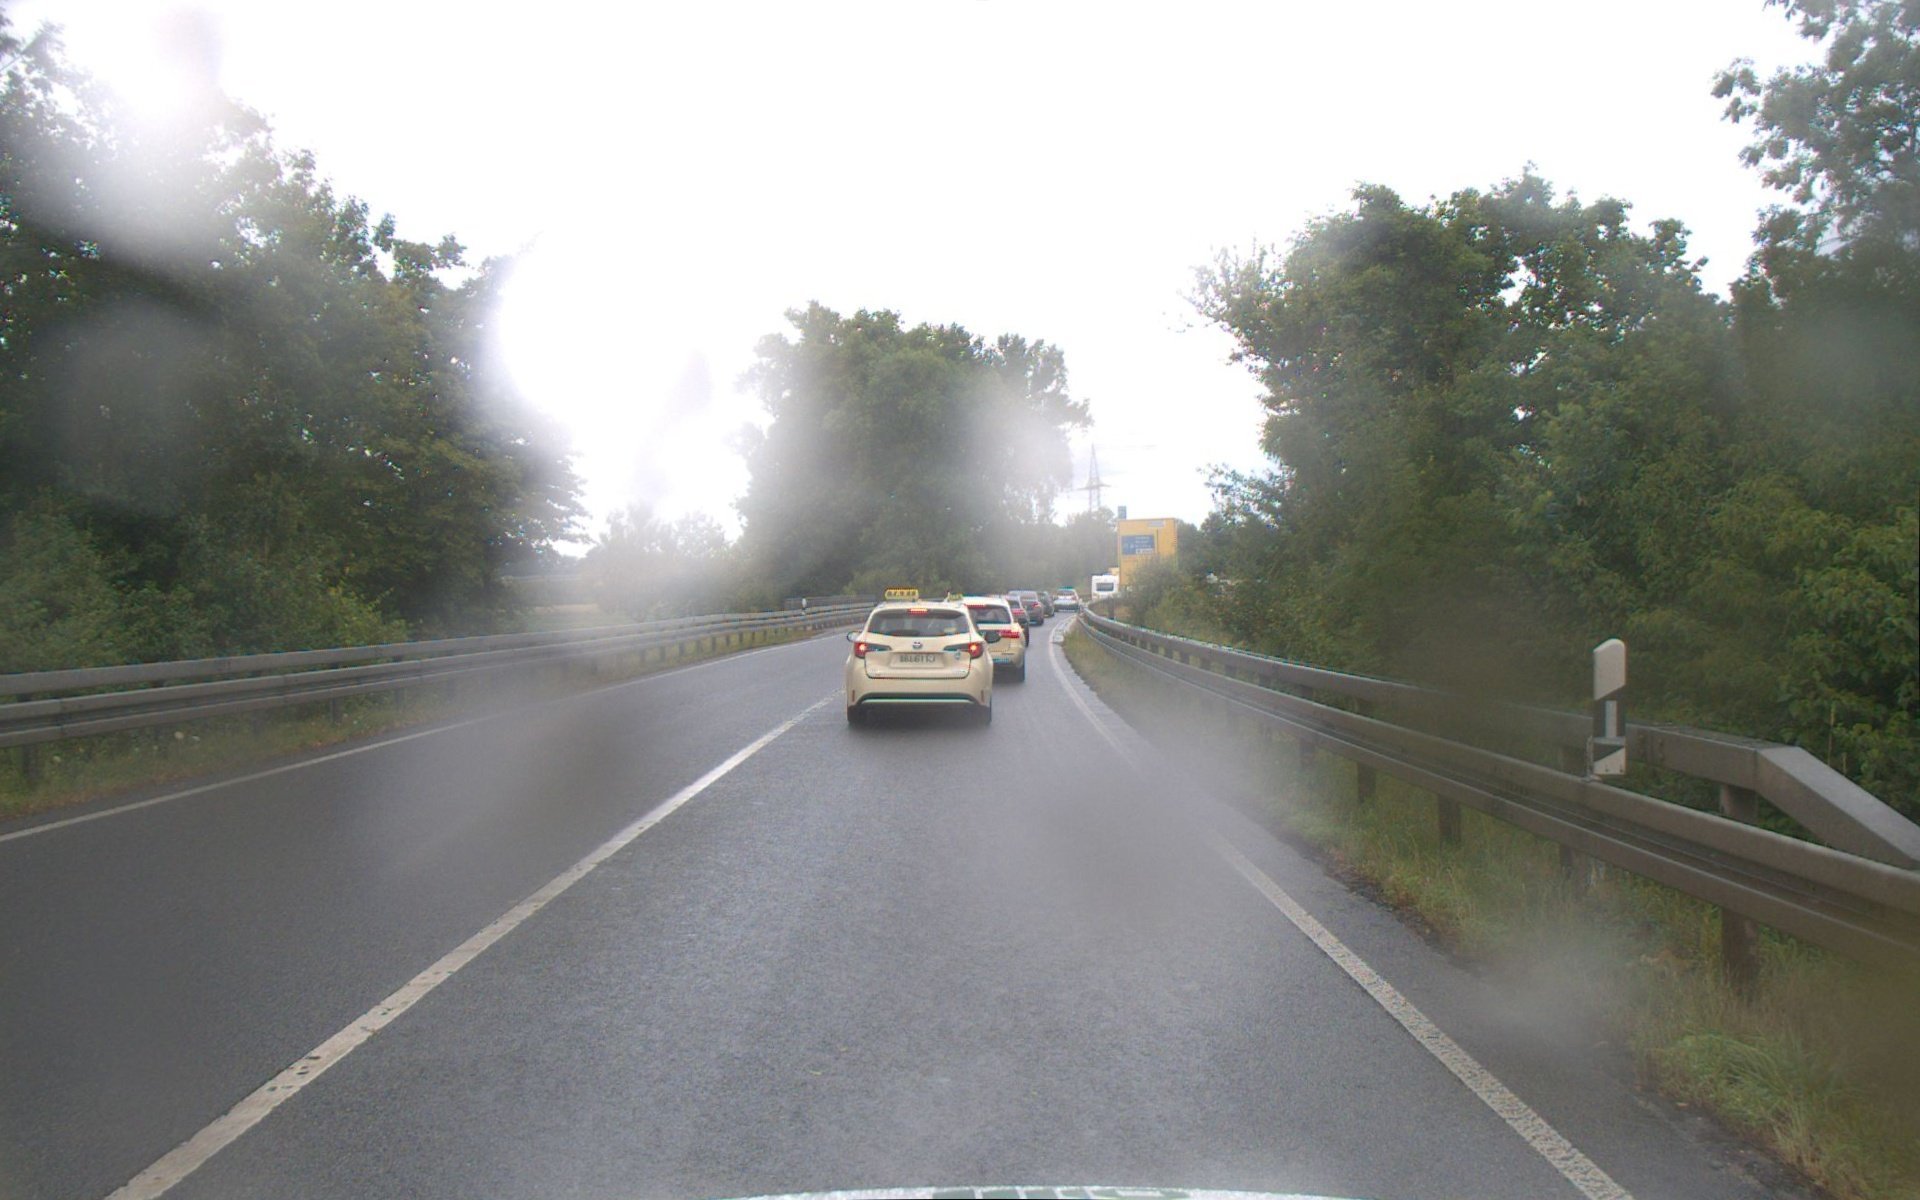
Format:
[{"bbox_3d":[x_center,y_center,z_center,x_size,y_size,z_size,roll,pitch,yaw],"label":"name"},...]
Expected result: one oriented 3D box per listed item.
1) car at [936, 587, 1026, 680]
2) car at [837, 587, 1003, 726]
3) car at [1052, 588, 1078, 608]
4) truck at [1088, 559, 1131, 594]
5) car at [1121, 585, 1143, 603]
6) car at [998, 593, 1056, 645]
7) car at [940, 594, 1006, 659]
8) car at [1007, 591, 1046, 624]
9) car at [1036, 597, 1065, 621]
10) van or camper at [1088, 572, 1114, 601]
[{"bbox_3d":[0.438,0.571,30.300,1.545,1.600,3.682,0,0,2],"label":"car"},{"bbox_3d":[-0.411,0.639,20.799,1.866,1.564,4.162,0,0,1],"label":"car"},{"bbox_3d":[6.967,-0.120,109.674,1.451,1.332,3.479,0,0,8],"label":"car"},{"bbox_3d":[15.936,-2.567,175.357,2.712,3.488,9.194,2,2,16],"label":"truck"},{"bbox_3d":[16.612,-0.564,159.527,1.612,1.613,3.685,0,0,15],"label":"car"},{"bbox_3d":[1.988,0.545,49.752,1.631,1.489,3.477,0,0,0],"label":"car"},{"bbox_3d":[0.278,0.593,39.299,1.475,1.462,3.355,1,0,-1],"label":"car"},{"bbox_3d":[2.977,0.343,74.039,1.625,1.434,3.906,0,-1,4],"label":"car"},{"bbox_3d":[5.072,0.495,92.696,1.451,1.332,3.479,0,0,6],"label":"car"},{"bbox_3d":[11.848,-1.114,139.082,1.951,2.293,4.003,1,0,8],"label":"van or camper"}]
